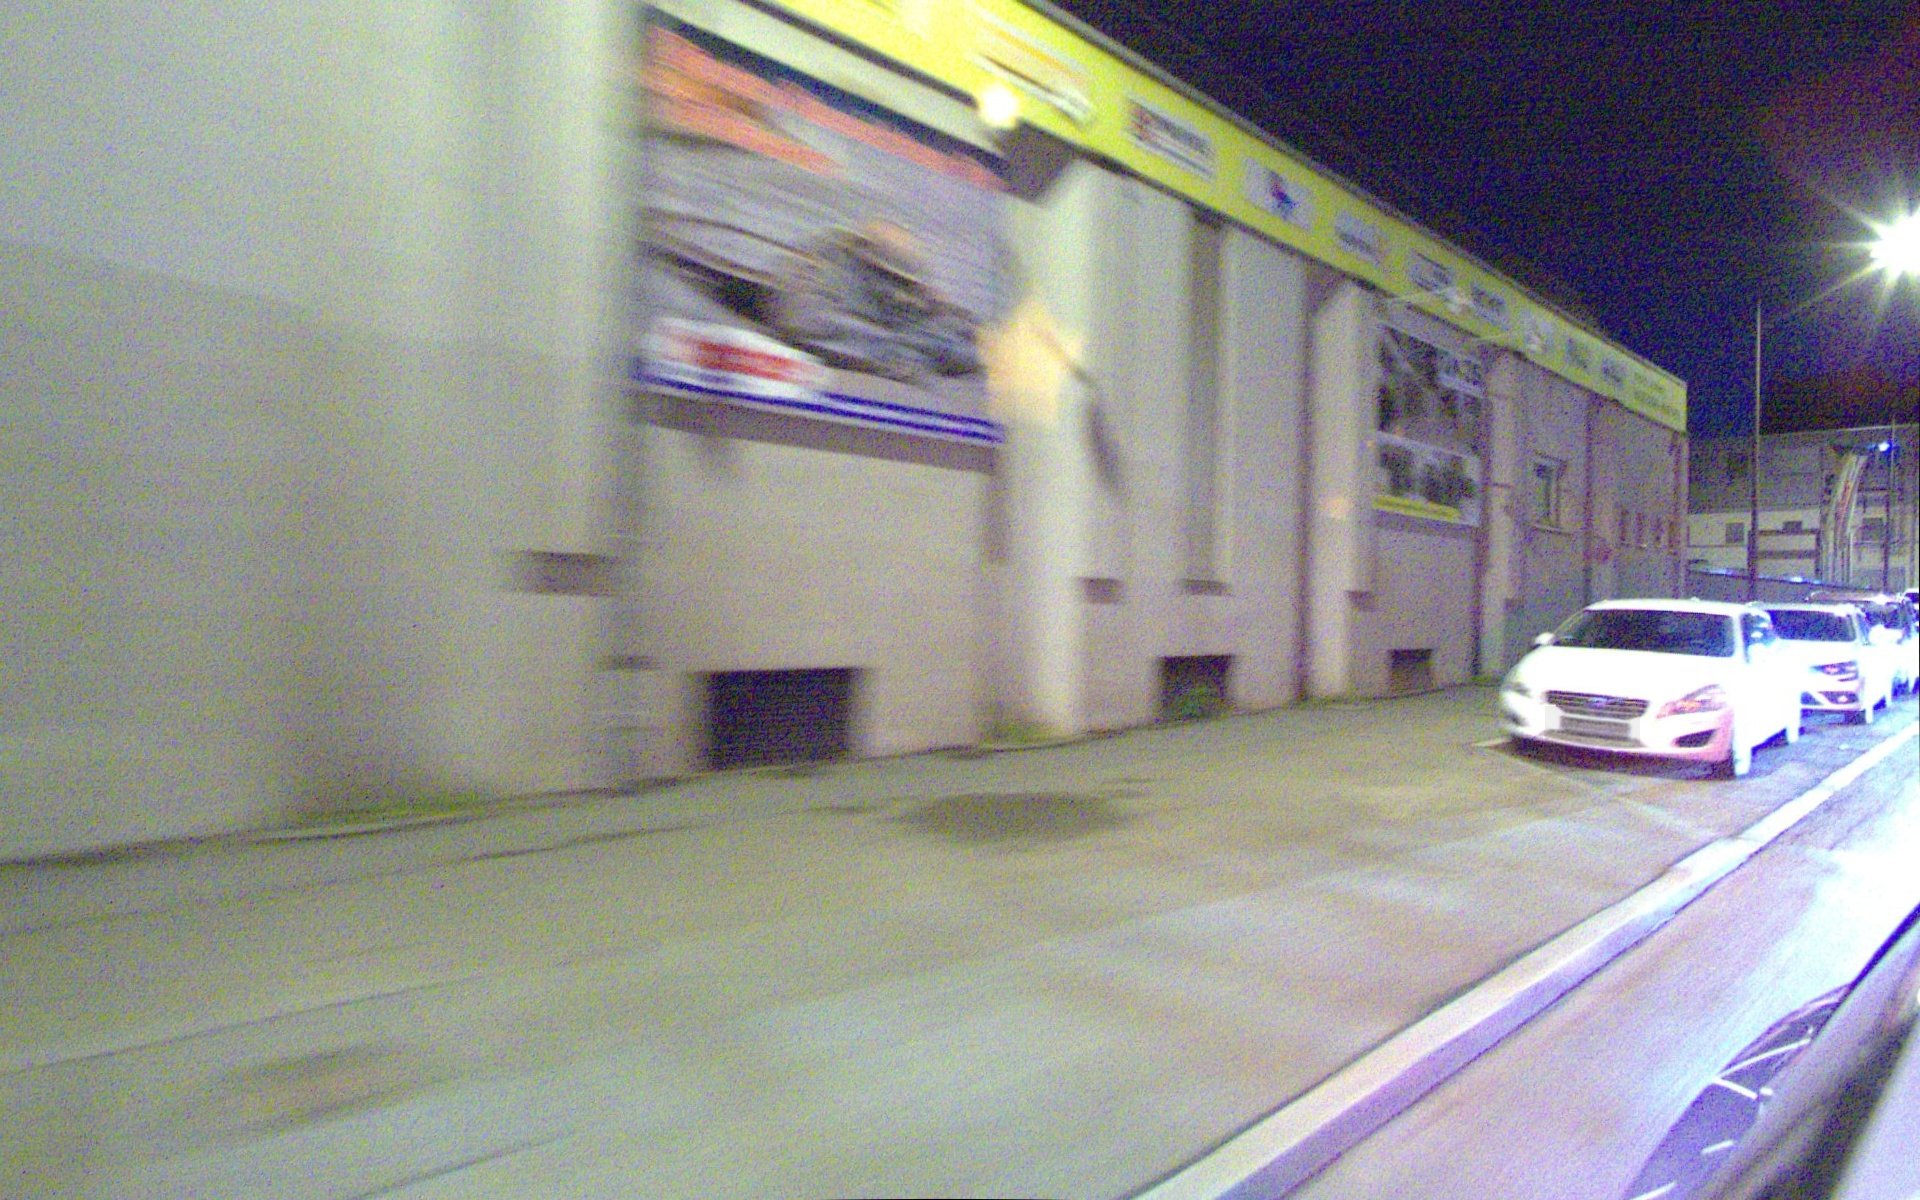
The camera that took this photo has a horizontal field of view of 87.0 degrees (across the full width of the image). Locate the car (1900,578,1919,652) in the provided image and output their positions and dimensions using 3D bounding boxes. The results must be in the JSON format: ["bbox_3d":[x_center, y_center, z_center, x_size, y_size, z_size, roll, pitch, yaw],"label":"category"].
[{"bbox_3d":[26.840,0.439,27.165,4.690,1.898,1.804,1,2,-41],"label":"car"}]

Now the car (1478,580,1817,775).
[{"bbox_3d":[6.956,0.567,10.033,4.470,1.507,1.862,-1,1,-43],"label":"car"}]

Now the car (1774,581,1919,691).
[{"bbox_3d":[15.772,0.555,17.644,4.382,1.643,1.826,1,1,-43],"label":"car"}]

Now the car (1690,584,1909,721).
[{"bbox_3d":[11.525,0.575,13.780,4.470,1.563,1.776,-1,1,-43],"label":"car"}]

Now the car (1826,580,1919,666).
[{"bbox_3d":[19.740,0.449,21.219,4.549,1.608,1.826,1,1,-42],"label":"car"}]

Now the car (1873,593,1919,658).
[{"bbox_3d":[23.326,0.607,23.968,4.112,1.445,1.821,1,2,-38],"label":"car"}]
